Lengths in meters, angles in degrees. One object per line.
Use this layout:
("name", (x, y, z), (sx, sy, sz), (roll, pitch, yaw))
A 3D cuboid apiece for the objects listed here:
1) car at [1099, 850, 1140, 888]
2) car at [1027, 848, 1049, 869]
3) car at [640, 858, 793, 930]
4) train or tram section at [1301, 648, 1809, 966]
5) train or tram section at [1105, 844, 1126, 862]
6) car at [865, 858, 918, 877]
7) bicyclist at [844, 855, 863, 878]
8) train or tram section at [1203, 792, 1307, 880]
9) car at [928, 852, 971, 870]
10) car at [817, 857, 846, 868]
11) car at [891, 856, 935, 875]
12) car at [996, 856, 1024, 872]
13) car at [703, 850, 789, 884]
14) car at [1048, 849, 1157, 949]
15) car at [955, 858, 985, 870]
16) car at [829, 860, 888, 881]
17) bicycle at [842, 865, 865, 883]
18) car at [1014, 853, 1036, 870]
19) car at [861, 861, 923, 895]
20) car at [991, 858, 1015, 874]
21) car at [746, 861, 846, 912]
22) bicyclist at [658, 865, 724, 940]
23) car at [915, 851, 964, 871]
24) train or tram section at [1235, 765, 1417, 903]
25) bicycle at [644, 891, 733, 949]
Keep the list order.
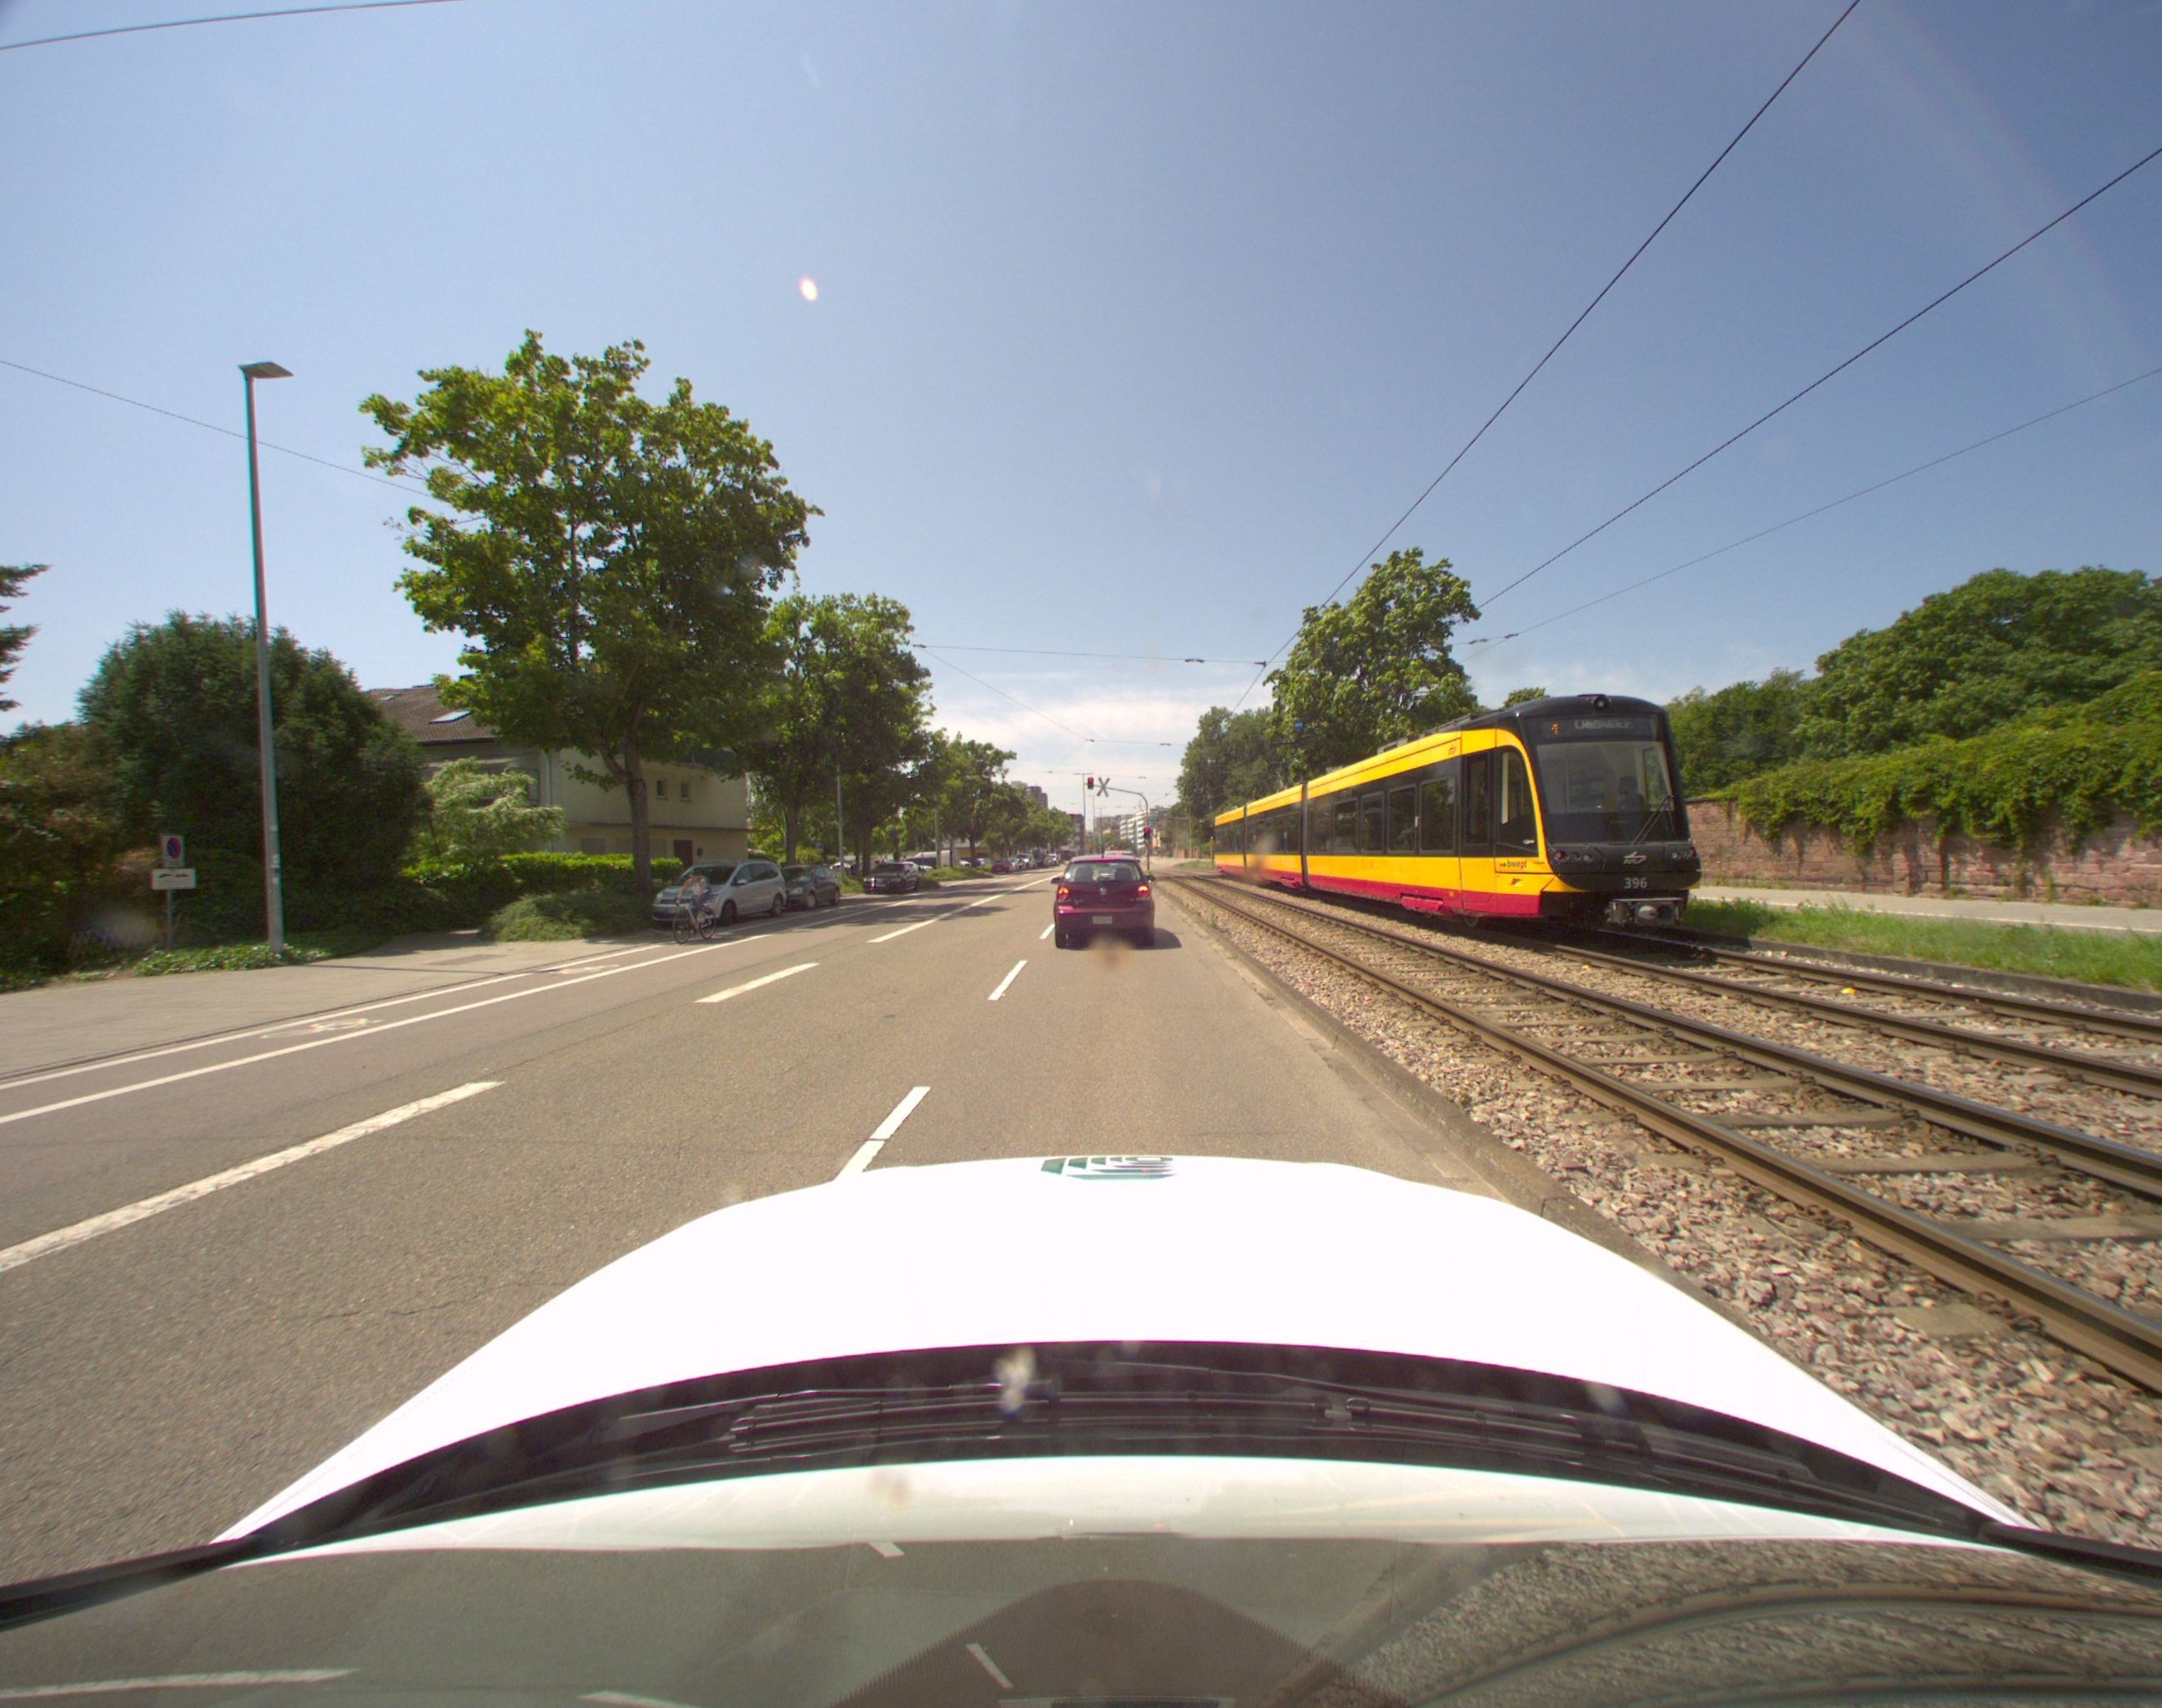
("car", (1.712, 0.640, 37.013), (1.770, 1.647, 4.001), (0, 0, 1))
("car", (-5.611, 0.586, 106.875), (2.352, 2.692, 5.311), (0, -1, 3))
("car", (-9.772, 0.988, 22.318), (1.865, 1.664, 4.783), (-1, 0, 2))
("train or tram section", (7.558, -0.586, 16.518), (3.016, 3.798, 13.096), (-2, 0, 2))
("train or tram section", (7.096, -0.216, 170.333), (2.736, 3.609, 12.848), (0, 0, -5))
("car", (-17.541, 1.258, 75.422), (4.318, 1.585, 1.917), (-2, 0, 8))
("bicyclist", (-13.832, 0.755, 49.510), (0.805, 1.374, 0.829), (0, -1, 5))
("train or tram section", (8.625, -0.798, 42.328), (3.016, 3.798, 12.766), (-2, 0, 2))
("car", (-17.005, 0.899, 105.234), (5.076, 2.244, 2.380), (0, -1, 3))
("car", (-39.720, 1.367, 129.925), (4.003, 1.617, 1.818), (0, -1, 3))
("car", (-17.184, 1.186, 83.443), (3.973, 1.746, 1.999), (-2, 0, 1))
("car", (-7.227, 0.999, 83.613), (1.965, 1.601, 4.566), (0, -1, 7))
("car", (-30.484, 1.169, 74.208), (6.828, 2.965, 2.364), (0, -1, 0))
("car", (0.383, 0.686, 14.489), (1.666, 1.521, 4.001), (0, 0, 1))
("car", (-16.089, 1.464, 117.761), (4.003, 1.617, 1.818), (0, -1, 3))
("car", (-18.418, 1.350, 67.619), (4.329, 1.585, 1.912), (-2, 0, 0))
("bicycle", (-13.808, 1.210, 49.473), (0.697, 1.030, 1.832), (0, -1, 5))
("car", (-6.414, 0.898, 93.839), (1.774, 1.881, 4.792), (0, -1, 5))
("car", (-9.045, 1.116, 39.322), (1.812, 1.476, 4.451), (0, 0, 2))
("car", (-7.360, 1.118, 77.060), (1.655, 1.497, 4.004), (0, -1, 4))
("car", (-9.535, 1.033, 27.611), (1.812, 1.564, 4.183), (0, 0, 2))
("bicyclist", (-8.088, 0.985, 16.927), (0.733, 1.431, 1.124), (-5, 0, -1))
("car", (-16.329, 0.849, 94.030), (5.076, 2.244, 2.380), (0, -1, 3))
("train or tram section", (8.134, -0.572, 29.528), (3.016, 3.798, 13.096), (-2, 0, 2))
("bicycle", (-8.072, 1.334, 16.878), (0.699, 0.951, 2.242), (-4, 1, -1))
